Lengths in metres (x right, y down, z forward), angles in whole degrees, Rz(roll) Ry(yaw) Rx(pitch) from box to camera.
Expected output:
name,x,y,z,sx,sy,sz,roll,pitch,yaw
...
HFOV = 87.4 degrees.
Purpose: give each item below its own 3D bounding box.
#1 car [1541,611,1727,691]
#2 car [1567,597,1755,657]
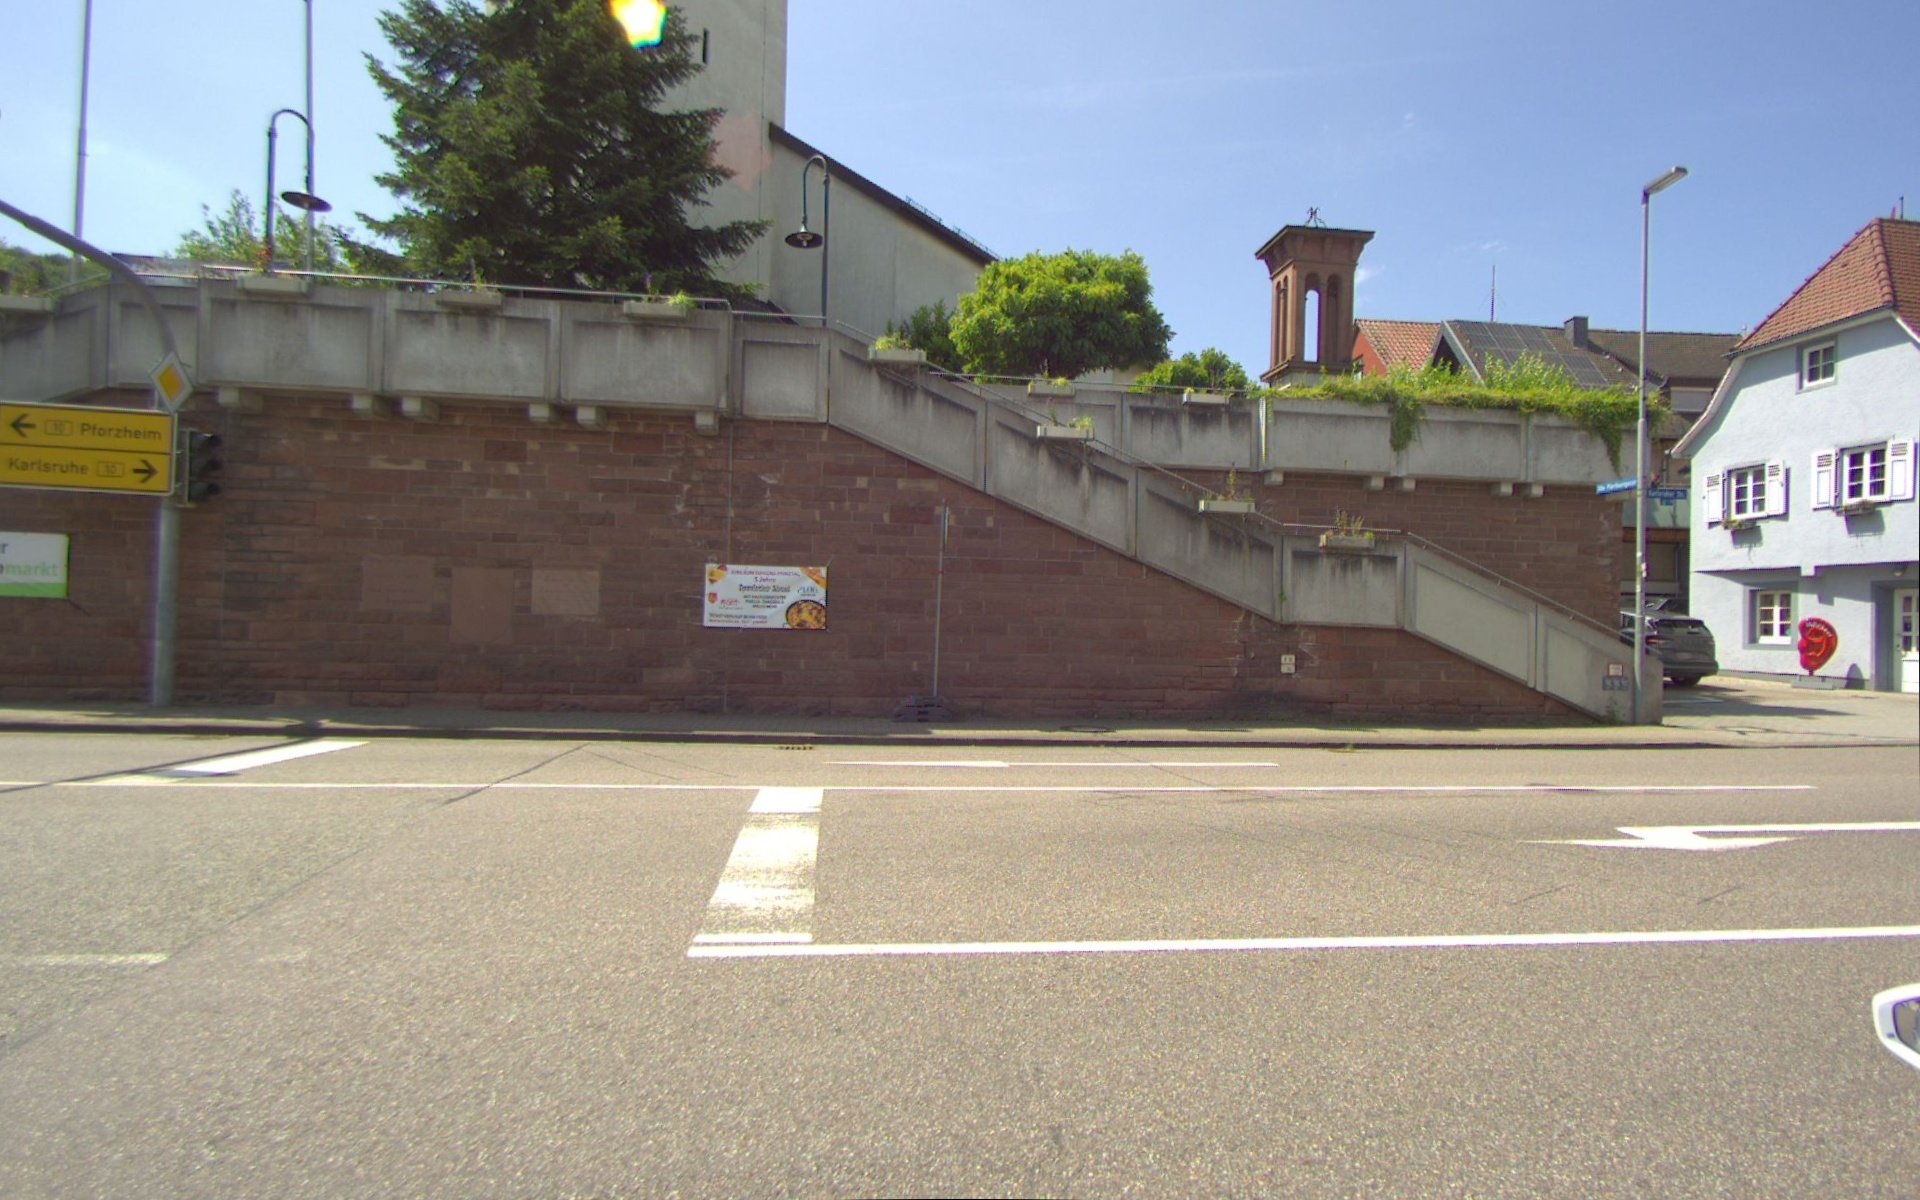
name,x,y,z,sx,sy,sz,roll,pitch,yaw
car,14.999,1.067,22.660,1.945,1.541,4.002,1,0,9
car,19.650,0.742,28.307,3.919,1.503,1.866,2,0,4
